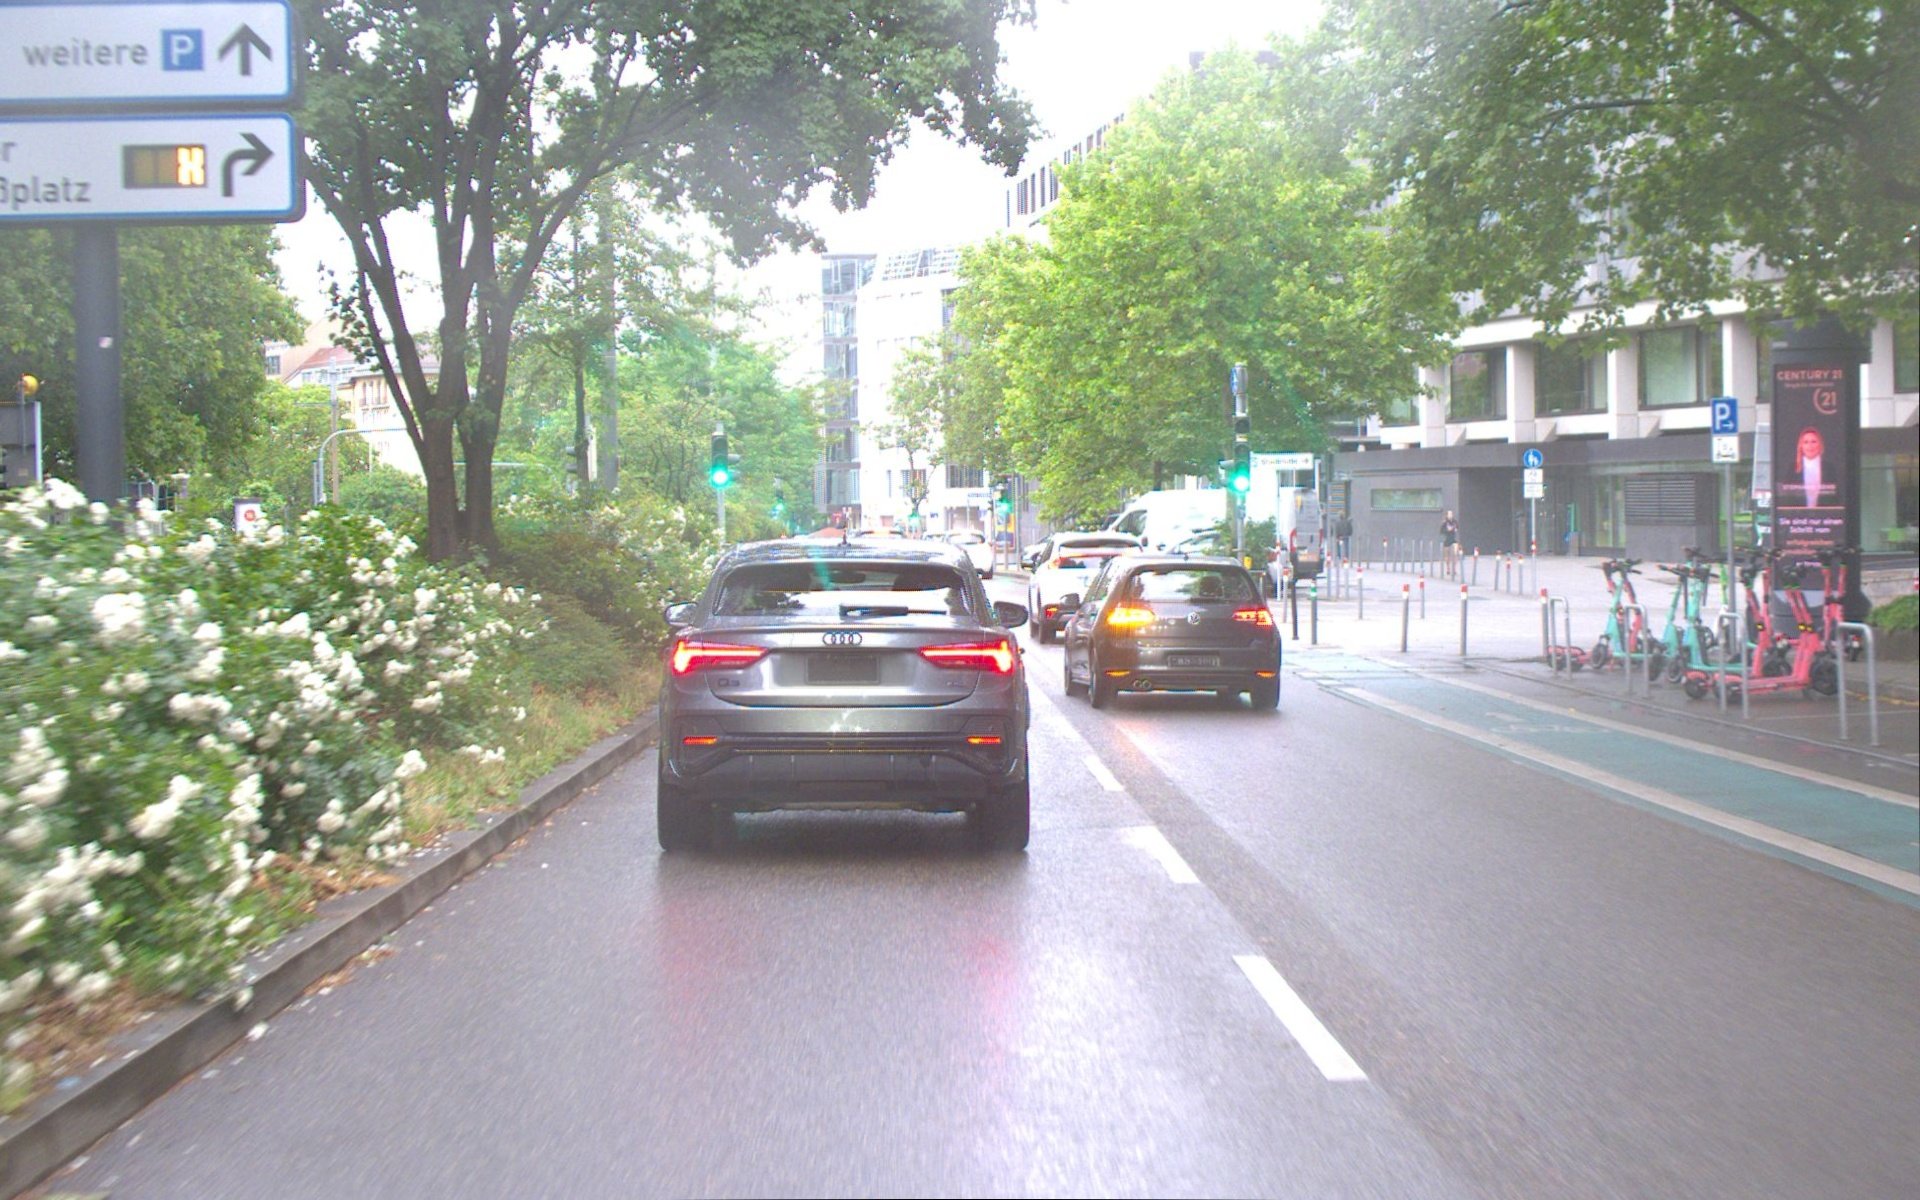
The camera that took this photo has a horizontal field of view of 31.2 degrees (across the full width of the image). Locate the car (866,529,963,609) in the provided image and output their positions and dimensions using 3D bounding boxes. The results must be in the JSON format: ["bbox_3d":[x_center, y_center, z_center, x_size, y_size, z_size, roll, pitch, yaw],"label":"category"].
[{"bbox_3d":[-0.903,-0.629,67.503,1.849,1.518,4.039,0,1,-1],"label":"car"}]

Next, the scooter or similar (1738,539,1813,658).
[{"bbox_3d":[9.096,-0.031,38.379,0.487,1.255,1.294,-2,3,-1],"label":"scooter or similar"}]

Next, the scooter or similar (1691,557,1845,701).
[{"bbox_3d":[7.510,0.262,31.975,1.289,1.274,0.537,-2,3,4],"label":"scooter or similar"}]

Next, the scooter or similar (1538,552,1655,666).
[{"bbox_3d":[7.303,0.100,39.445,1.290,1.255,0.489,-1,3,11],"label":"scooter or similar"}]

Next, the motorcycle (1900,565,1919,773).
[{"bbox_3d":[7.312,0.425,22.822,1.955,1.369,0.729,-3,3,-17],"label":"motorcycle"}]

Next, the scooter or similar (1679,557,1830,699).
[{"bbox_3d":[7.487,0.259,32.419,1.289,1.274,0.537,-2,3,4],"label":"scooter or similar"}]

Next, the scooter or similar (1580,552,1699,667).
[{"bbox_3d":[7.686,0.106,38.914,1.290,1.255,0.489,-1,3,11],"label":"scooter or similar"}]

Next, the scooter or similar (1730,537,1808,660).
[{"bbox_3d":[8.735,-0.024,37.145,0.487,1.255,1.294,-2,3,-1],"label":"scooter or similar"}]

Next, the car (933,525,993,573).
[{"bbox_3d":[0.088,-1.643,109.678,1.849,1.518,4.039,0,1,-1],"label":"car"}]

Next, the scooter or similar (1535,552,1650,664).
[{"bbox_3d":[7.371,0.096,40.057,1.290,1.255,0.489,-1,3,11],"label":"scooter or similar"}]

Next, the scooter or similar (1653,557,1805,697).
[{"bbox_3d":[7.403,0.253,33.103,1.289,1.274,0.537,-2,3,-11],"label":"scooter or similar"}]

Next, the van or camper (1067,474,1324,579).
[{"bbox_3d":[5.876,-1.821,86.041,6.074,2.549,2.102,0,1,26],"label":"van or camper"}]

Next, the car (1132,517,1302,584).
[{"bbox_3d":[5.986,-1.161,79.952,3.652,1.542,1.713,0,1,18],"label":"car"}]

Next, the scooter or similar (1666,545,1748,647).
[{"bbox_3d":[8.891,-0.052,40.939,0.487,1.193,1.294,0,0,-10],"label":"scooter or similar"}]

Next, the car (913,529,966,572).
[{"bbox_3d":[-0.755,-1.785,123.895,1.849,1.518,4.039,0,1,-1],"label":"car"}]

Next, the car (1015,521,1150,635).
[{"bbox_3d":[1.817,-0.361,52.039,1.849,1.663,4.039,0,1,-1],"label":"car"}]

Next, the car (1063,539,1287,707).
[{"bbox_3d":[2.011,0.174,33.172,1.849,1.518,4.039,0,1,-1],"label":"car"}]

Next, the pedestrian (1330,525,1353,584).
[{"bbox_3d":[11.608,-1.374,104.595,0.553,1.799,0.762,0,0,-4],"label":"pedestrian"}]

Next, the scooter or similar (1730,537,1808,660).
[{"bbox_3d":[8.735,-0.024,37.145,0.487,1.255,1.294,-2,3,-1],"label":"scooter or similar"}]

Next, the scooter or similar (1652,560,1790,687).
[{"bbox_3d":[7.796,0.239,35.243,1.289,1.231,0.489,-2,3,2],"label":"scooter or similar"}]

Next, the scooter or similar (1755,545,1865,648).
[{"bbox_3d":[10.065,-0.044,40.721,0.487,1.193,1.293,-1,0,-31],"label":"scooter or similar"}]

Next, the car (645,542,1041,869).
[{"bbox_3d":[-0.602,0.459,18.120,1.849,1.518,4.039,0,1,-2],"label":"car"}]

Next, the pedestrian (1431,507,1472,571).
[{"bbox_3d":[12.976,-1.612,90.765,0.805,1.690,1.188,0,1,-6],"label":"pedestrian"}]

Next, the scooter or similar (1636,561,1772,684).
[{"bbox_3d":[7.783,0.233,35.988,1.289,1.231,0.489,-2,3,2],"label":"scooter or similar"}]

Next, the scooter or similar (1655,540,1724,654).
[{"bbox_3d":[8.499,-0.048,40.080,0.487,1.255,1.294,-2,3,-1],"label":"scooter or similar"}]
